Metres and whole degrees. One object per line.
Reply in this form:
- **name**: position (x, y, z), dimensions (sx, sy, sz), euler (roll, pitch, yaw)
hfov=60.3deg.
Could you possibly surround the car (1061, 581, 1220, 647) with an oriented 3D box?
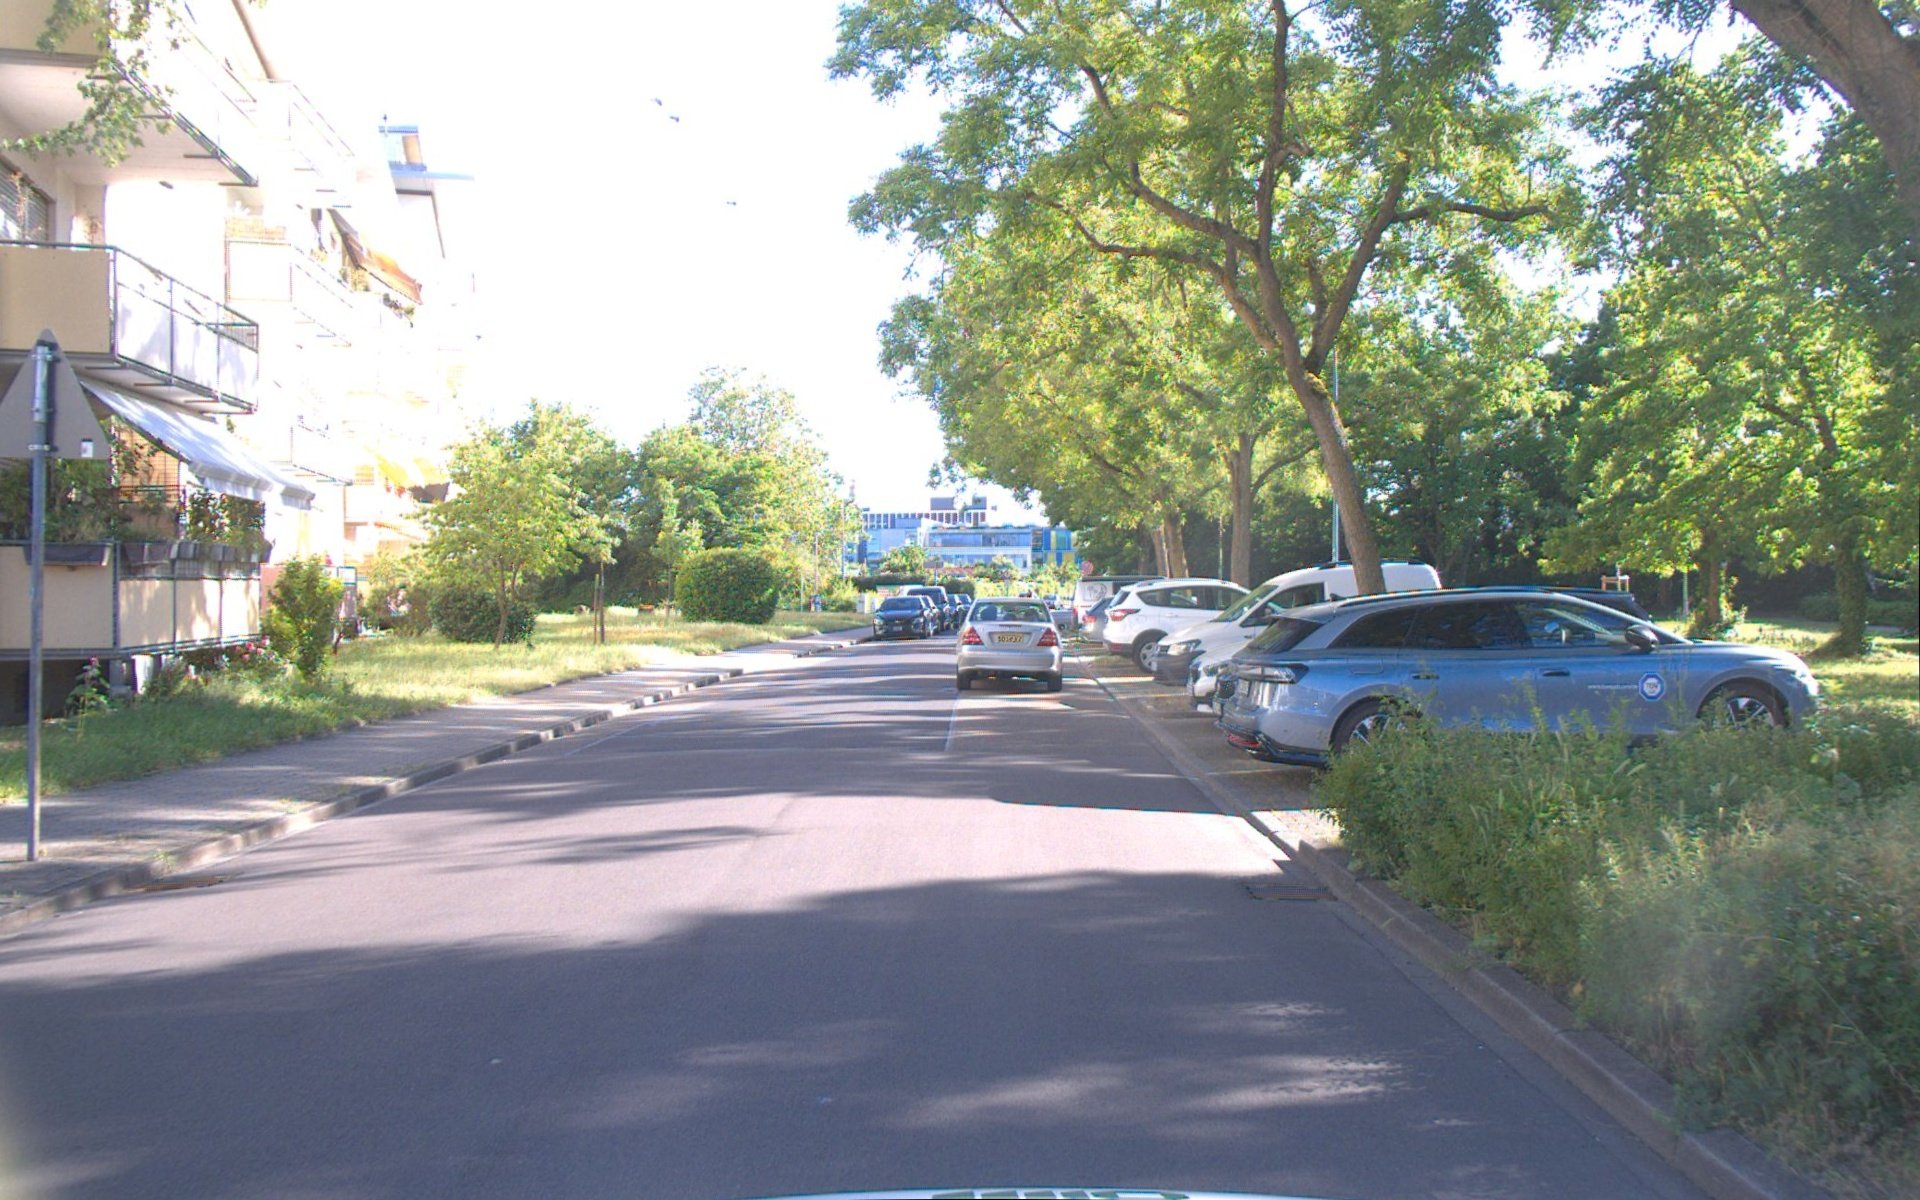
- **car**: position (5.861, 0.454, 54.183), dimensions (5.108, 2.095, 2.001), euler (0, 0, 3)

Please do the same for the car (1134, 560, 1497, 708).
- **car**: position (5.098, 0.462, 24.099), dimensions (4.790, 1.957, 1.998), euler (-1, 0, -6)

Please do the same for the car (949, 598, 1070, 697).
- **car**: position (0.858, 0.755, 26.510), dimensions (1.696, 1.459, 3.440), euler (1, -1, 5)

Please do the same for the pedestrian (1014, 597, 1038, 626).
- **pedestrian**: position (4.890, 0.854, 122.454), dimensions (1.540, 2.125, 1.725), euler (0, 0, 10)

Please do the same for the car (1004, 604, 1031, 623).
- **car**: position (4.589, 1.069, 131.761), dimensions (1.853, 1.529, 3.659), euler (0, 0, 7)

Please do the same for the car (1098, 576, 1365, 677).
- **car**: position (5.101, 0.494, 31.547), dimensions (4.783, 1.754, 2.001), euler (-1, 0, 2)

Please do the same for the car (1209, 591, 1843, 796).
- **car**: position (4.615, 0.732, 14.012), dimensions (4.685, 1.576, 2.011), euler (0, 0, -1)

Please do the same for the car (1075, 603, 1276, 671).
- **car**: position (5.383, 0.921, 41.781), dimensions (4.785, 1.656, 1.999), euler (0, 0, -2)

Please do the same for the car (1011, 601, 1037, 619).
- **car**: position (5.457, 0.849, 140.015), dimensions (1.853, 1.529, 3.659), euler (0, 0, 7)

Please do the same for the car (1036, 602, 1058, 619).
- **car**: position (8.293, 1.009, 157.575), dimensions (1.853, 1.529, 3.659), euler (0, 0, 7)

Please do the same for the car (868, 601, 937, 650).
- **car**: position (-1.917, 0.840, 56.606), dimensions (1.873, 1.516, 3.839), euler (-3, 0, 4)

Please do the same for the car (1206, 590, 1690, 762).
- **car**: position (4.727, 0.716, 16.491), dimensions (4.335, 1.599, 1.738), euler (0, 0, 2)

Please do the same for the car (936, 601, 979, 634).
- **car**: position (-0.091, 0.829, 81.772), dimensions (1.713, 1.547, 4.196), euler (-1, 0, 6)

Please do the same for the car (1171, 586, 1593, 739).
- **car**: position (4.793, 0.687, 19.262), dimensions (4.354, 1.544, 2.000), euler (-2, 0, -1)
